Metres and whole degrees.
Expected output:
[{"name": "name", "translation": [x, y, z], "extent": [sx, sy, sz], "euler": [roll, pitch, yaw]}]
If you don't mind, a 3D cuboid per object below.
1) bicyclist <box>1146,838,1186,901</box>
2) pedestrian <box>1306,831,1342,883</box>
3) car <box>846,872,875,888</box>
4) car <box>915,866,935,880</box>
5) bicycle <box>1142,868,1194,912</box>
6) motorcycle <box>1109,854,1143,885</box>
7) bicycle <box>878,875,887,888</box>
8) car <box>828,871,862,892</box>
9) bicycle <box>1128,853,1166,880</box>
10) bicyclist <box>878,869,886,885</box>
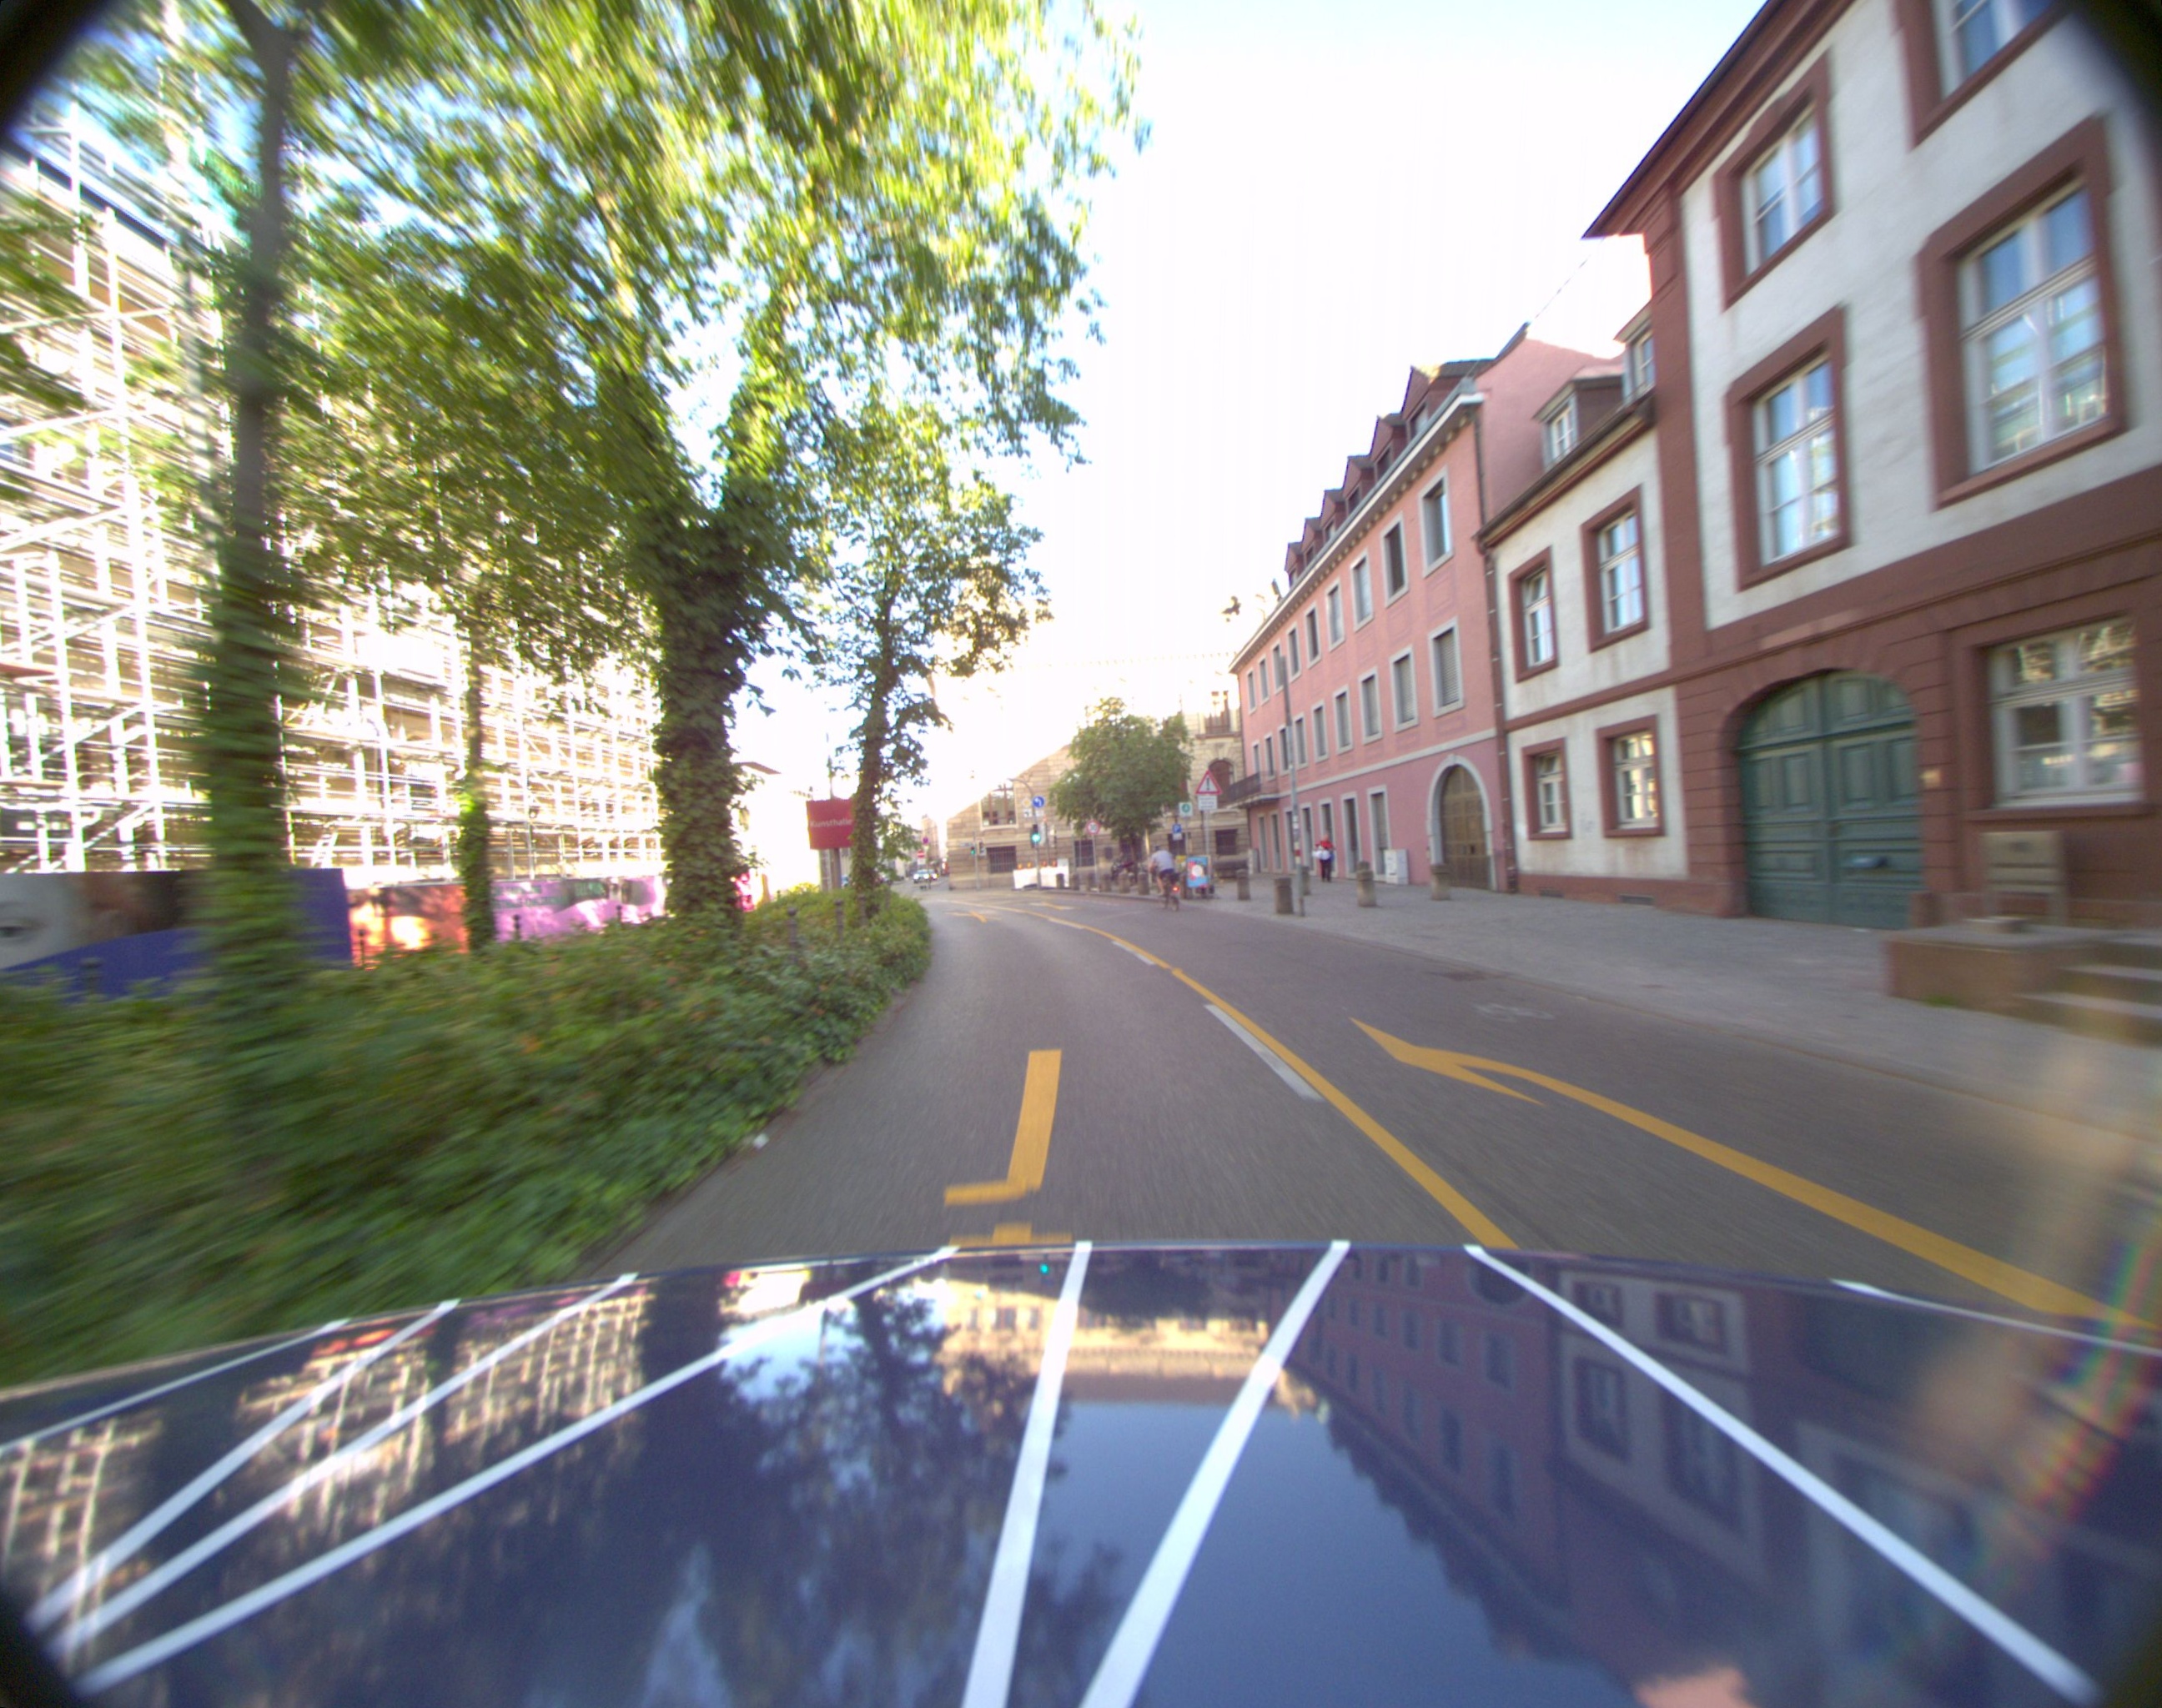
[{"name": "bicyclist", "translation": [2.266, 0.408, 20.326], "extent": [0.746, 1.574, 0.794], "euler": [-6, 1, -9]}, {"name": "pedestrian", "translation": [8.423, 0.103, 26.351], "extent": [0.793, 1.679, 0.868], "euler": [-6, 1, 0]}, {"name": "car", "translation": [-22.140, 2.614, 76.506], "extent": [1.701, 1.336, 4.596], "euler": [-5, 0, -3]}, {"name": "car", "translation": [-18.921, 2.319, 92.325], "extent": [1.855, 1.483, 4.252], "euler": [-6, 0, -7]}, {"name": "bicycle", "translation": [2.307, 0.940, 20.426], "extent": [0.774, 1.056, 2.076], "euler": [-5, 0, -9]}, {"name": "motorcycle", "translation": [2.016, 0.711, 34.725], "extent": [0.815, 1.309, 2.334], "euler": [-4, 0, -14]}, {"name": "bicycle", "translation": [-17.079, 2.359, 65.404], "extent": [0.535, 1.060, 1.425], "euler": [-6, 1, -8]}, {"name": "car", "translation": [-21.648, 2.480, 69.855], "extent": [1.899, 1.614, 4.619], "euler": [-5, 0, -6]}, {"name": "bicycle", "translation": [3.218, 0.599, 36.697], "extent": [0.681, 1.199, 2.009], "euler": [-2, 1, 43]}, {"name": "bicyclist", "translation": [-17.104, 1.981, 65.302], "extent": [0.538, 1.281, 0.551], "euler": [-6, 1, -9]}]
